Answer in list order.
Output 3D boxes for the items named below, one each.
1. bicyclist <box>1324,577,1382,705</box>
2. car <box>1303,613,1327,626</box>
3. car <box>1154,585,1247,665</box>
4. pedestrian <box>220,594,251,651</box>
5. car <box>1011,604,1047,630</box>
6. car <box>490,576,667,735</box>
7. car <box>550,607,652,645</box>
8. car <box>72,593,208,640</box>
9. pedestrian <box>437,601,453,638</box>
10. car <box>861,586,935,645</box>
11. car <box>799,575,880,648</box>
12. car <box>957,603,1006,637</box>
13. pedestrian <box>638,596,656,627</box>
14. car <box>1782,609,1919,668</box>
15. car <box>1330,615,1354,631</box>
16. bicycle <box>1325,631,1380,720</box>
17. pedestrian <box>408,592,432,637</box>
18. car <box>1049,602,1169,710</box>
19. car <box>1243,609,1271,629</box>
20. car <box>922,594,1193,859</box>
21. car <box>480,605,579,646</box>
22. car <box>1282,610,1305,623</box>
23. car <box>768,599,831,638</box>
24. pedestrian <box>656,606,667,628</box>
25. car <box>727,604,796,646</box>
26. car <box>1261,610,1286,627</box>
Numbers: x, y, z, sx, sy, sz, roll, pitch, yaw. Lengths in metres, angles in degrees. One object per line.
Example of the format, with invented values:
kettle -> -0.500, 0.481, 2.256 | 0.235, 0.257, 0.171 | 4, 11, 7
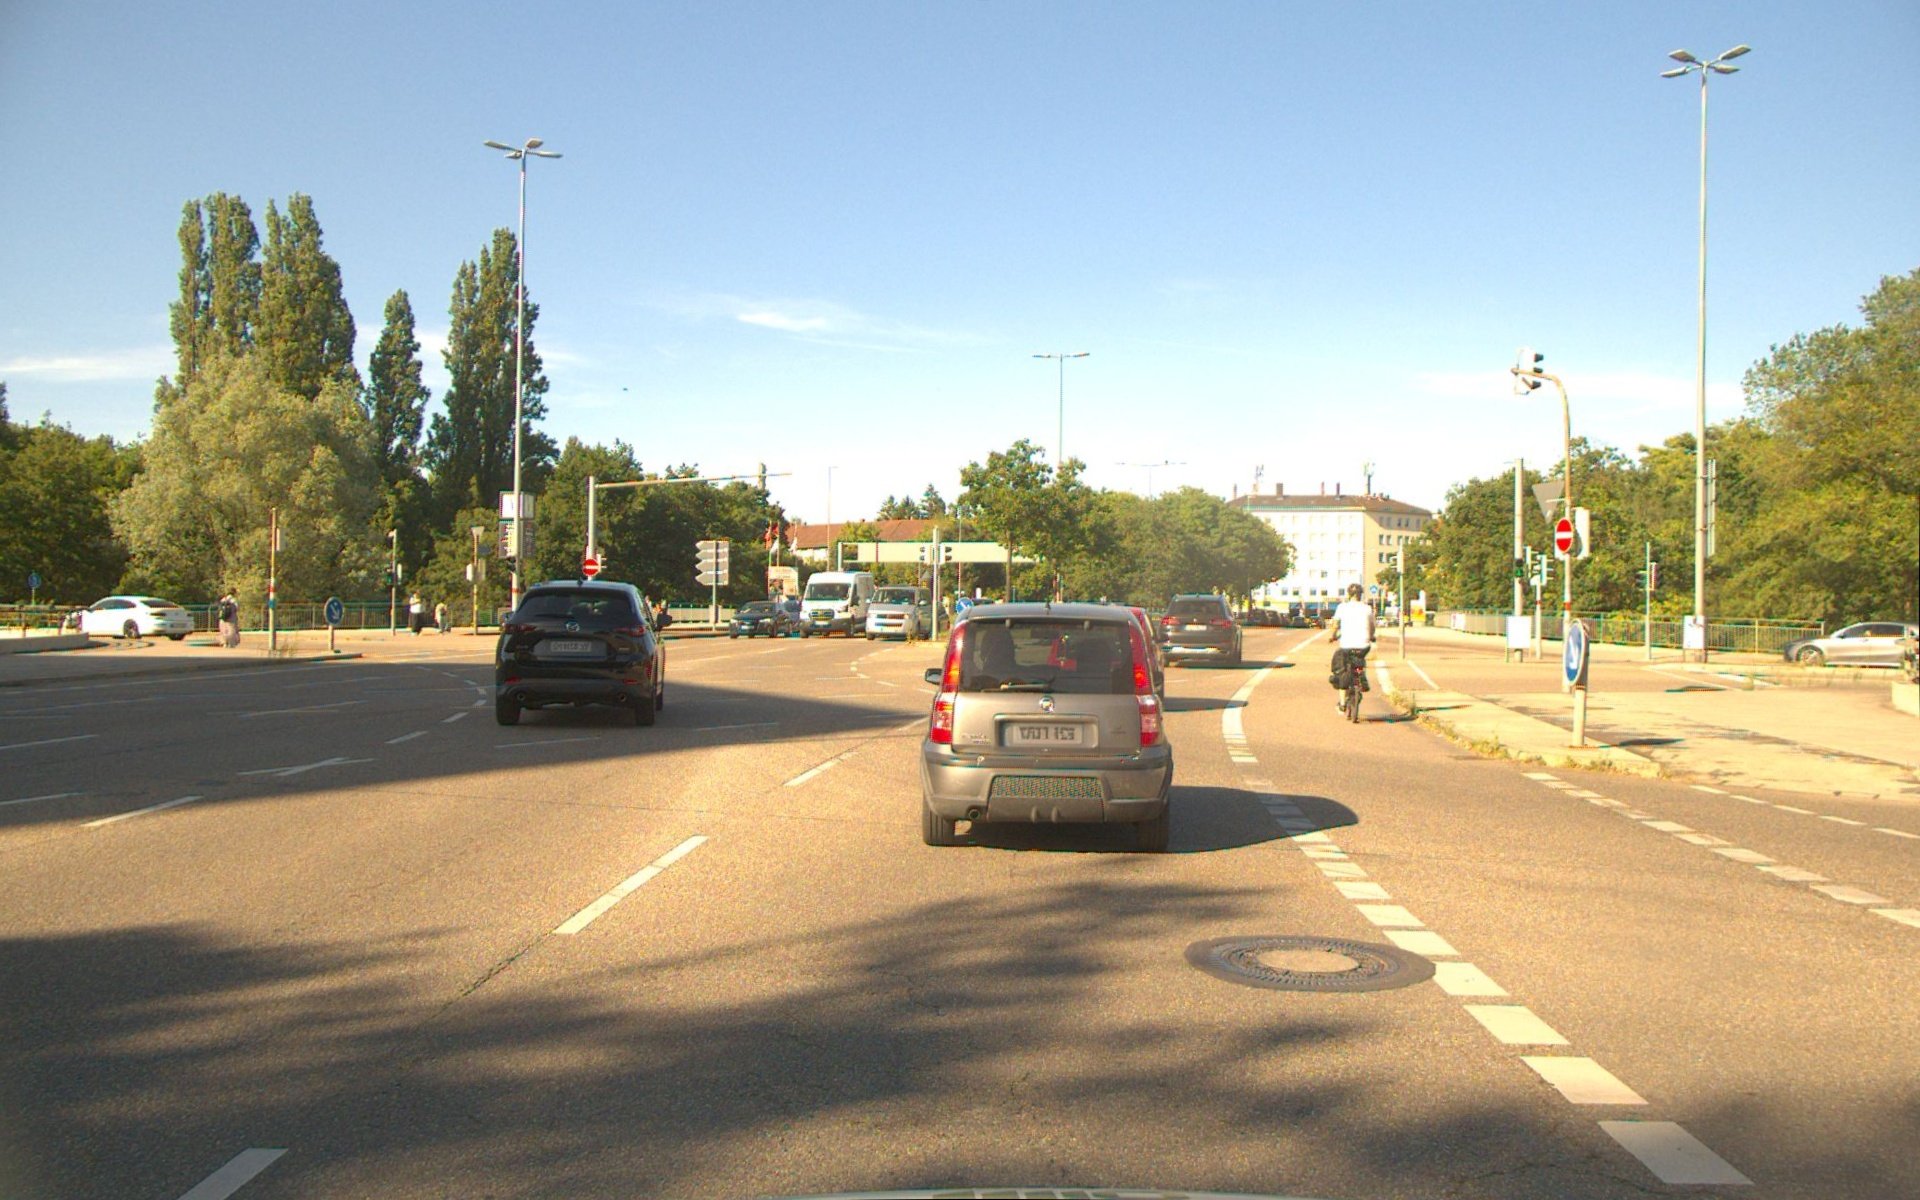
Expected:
bicyclist -> 5.343, 0.546, 22.540 | 0.708, 1.688, 1.114 | 2, 0, 12
car -> 45.286, 2.457, 211.204 | 1.908, 1.555, 4.090 | 0, 0, 29
car -> 6.038, 0.636, 41.213 | 1.904, 1.872, 4.155 | 0, -1, 14
pedestrian -> -19.123, 0.581, 43.659 | 0.669, 1.489, 0.699 | 1, -1, -19
car -> 4.537, 1.074, 108.771 | 1.895, 1.651, 4.509 | 1, 0, 8
car -> -4.580, 0.627, 20.369 | 1.840, 1.739, 4.187 | 1, 0, -10
car -> -15.712, 1.122, 72.506 | 1.749, 1.562, 4.313 | 2, 1, 35
car -> -26.409, 0.517, 53.264 | 4.221, 1.439, 1.784 | 1, 0, 27
pedestrian -> -22.064, 0.857, 70.841 | 0.550, 1.575, 0.571 | 0, -2, -29
car -> -2.195, 0.545, 60.114 | 1.895, 2.043, 4.935 | 1, 0, 7
car -> -4.543, 0.429, 63.329 | 1.895, 2.621, 6.093 | 1, 0, 7
car -> 1.123, 0.989, 84.051 | 1.895, 1.651, 4.509 | 1, 0, 8
pedestrian -> -17.361, 0.651, 91.810 | 0.705, 1.670, 0.673 | 1, -2, 12
car -> 25.778, 1.066, 46.827 | 4.169, 1.579, 1.850 | 0, 0, 42
car -> 45.405, 2.722, 196.517 | 1.829, 1.710, 3.903 | 1, -2, 27
bicycle -> 5.329, 1.004, 22.525 | 0.676, 1.121, 1.827 | 2, 0, 12
pedestrian -> -19.274, 0.514, 59.028 | 0.701, 1.575, 0.722 | 0, -1, -29
car -> 2.321, 0.786, 25.064 | 1.583, 1.488, 3.754 | 1, 0, 8
car -> 24.346, 1.526, 135.588 | 1.904, 1.555, 4.100 | 1, 0, 14
car -> 0.669, 0.755, 11.726 | 1.583, 1.542, 3.821 | 1, 0, 3
car -> -19.237, 1.162, 74.031 | 1.864, 1.654, 3.981 | 0, -3, 38
car -> 40.138, 1.963, 198.813 | 1.906, 1.555, 4.095 | 0, 0, 24
car -> -6.833, 0.766, 70.819 | 1.772, 1.568, 4.620 | -1, 0, 6
pedestrian -> -16.521, 0.949, 91.506 | 0.414, 1.156, 0.398 | 1, -2, 12
car -> -7.622, 0.938, 63.831 | 1.896, 1.534, 4.002 | -1, 0, 4
car -> 28.451, 1.676, 150.184 | 1.904, 1.555, 4.100 | 1, 0, 15
